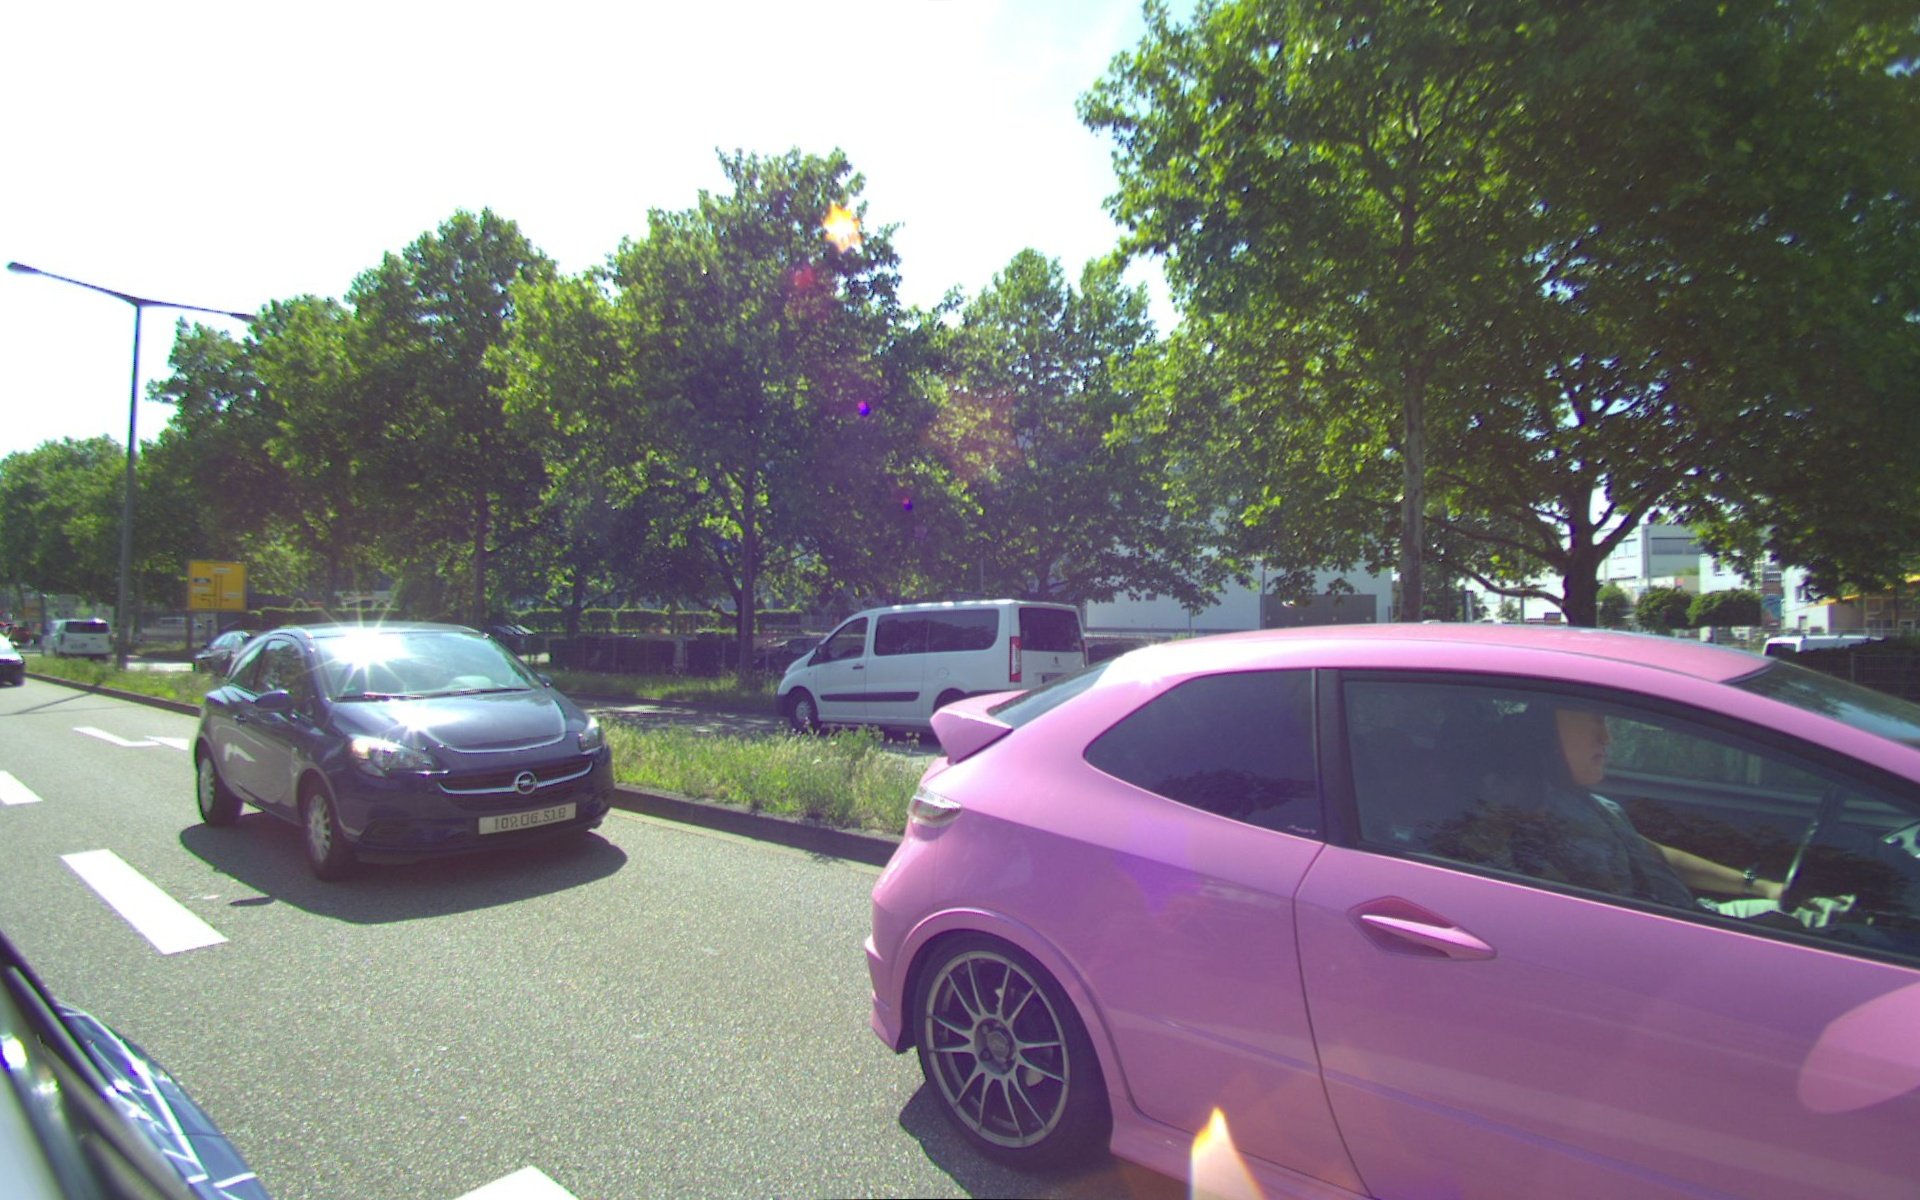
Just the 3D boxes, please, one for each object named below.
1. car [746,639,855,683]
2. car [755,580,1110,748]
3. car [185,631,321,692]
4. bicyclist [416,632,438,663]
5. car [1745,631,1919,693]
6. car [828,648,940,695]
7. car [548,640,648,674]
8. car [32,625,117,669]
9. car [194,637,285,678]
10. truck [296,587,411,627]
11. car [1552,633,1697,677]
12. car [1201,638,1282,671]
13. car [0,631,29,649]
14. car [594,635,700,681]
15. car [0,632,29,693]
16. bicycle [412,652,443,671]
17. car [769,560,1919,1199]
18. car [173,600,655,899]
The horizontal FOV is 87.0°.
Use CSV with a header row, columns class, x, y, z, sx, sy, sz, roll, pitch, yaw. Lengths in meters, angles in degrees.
class,x,y,z,sx,sy,sz,roll,pitch,yaw
car,-6.138,2.323,39.330,1.868,1.614,3.946,-2,-3,40
car,-0.573,0.875,14.691,5.210,2.029,1.973,-2,-3,41
car,-19.439,1.639,27.745,4.680,1.542,1.972,-2,-3,41
bicyclist,-26.448,2.341,50.229,0.941,1.496,0.674,-2,-3,41
car,25.249,1.723,28.386,4.779,1.678,1.999,0,-3,2
car,-2.601,2.435,35.289,1.801,1.424,3.952,0,-1,35
car,-16.479,2.578,46.178,1.772,1.475,3.944,-2,-3,42
car,-40.681,2.130,46.452,5.415,1.898,2.095,-2,-3,40
car,-26.729,2.115,37.510,4.356,1.409,1.768,-1,-3,41
truck,-53.864,0.654,89.928,8.876,3.421,2.669,0,-2,5
car,25.725,2.118,39.295,4.286,1.633,1.815,0,-2,5
car,14.498,2.790,52.026,3.933,1.516,1.810,0,-4,-33
car,-82.020,3.478,87.563,3.998,1.473,1.745,-2,-4,41
car,-13.717,2.510,44.473,2.157,1.837,3.941,-1,-1,45
car,-26.174,1.645,26.772,4.213,1.518,1.803,-2,-1,41
bicycle,-26.425,3.042,50.187,1.925,0.873,0.682,-2,-3,41
car,1.637,0.648,2.405,4.469,1.400,1.685,-2,-1,41
car,-3.977,0.808,7.052,4.046,1.494,1.609,-2,-1,41
